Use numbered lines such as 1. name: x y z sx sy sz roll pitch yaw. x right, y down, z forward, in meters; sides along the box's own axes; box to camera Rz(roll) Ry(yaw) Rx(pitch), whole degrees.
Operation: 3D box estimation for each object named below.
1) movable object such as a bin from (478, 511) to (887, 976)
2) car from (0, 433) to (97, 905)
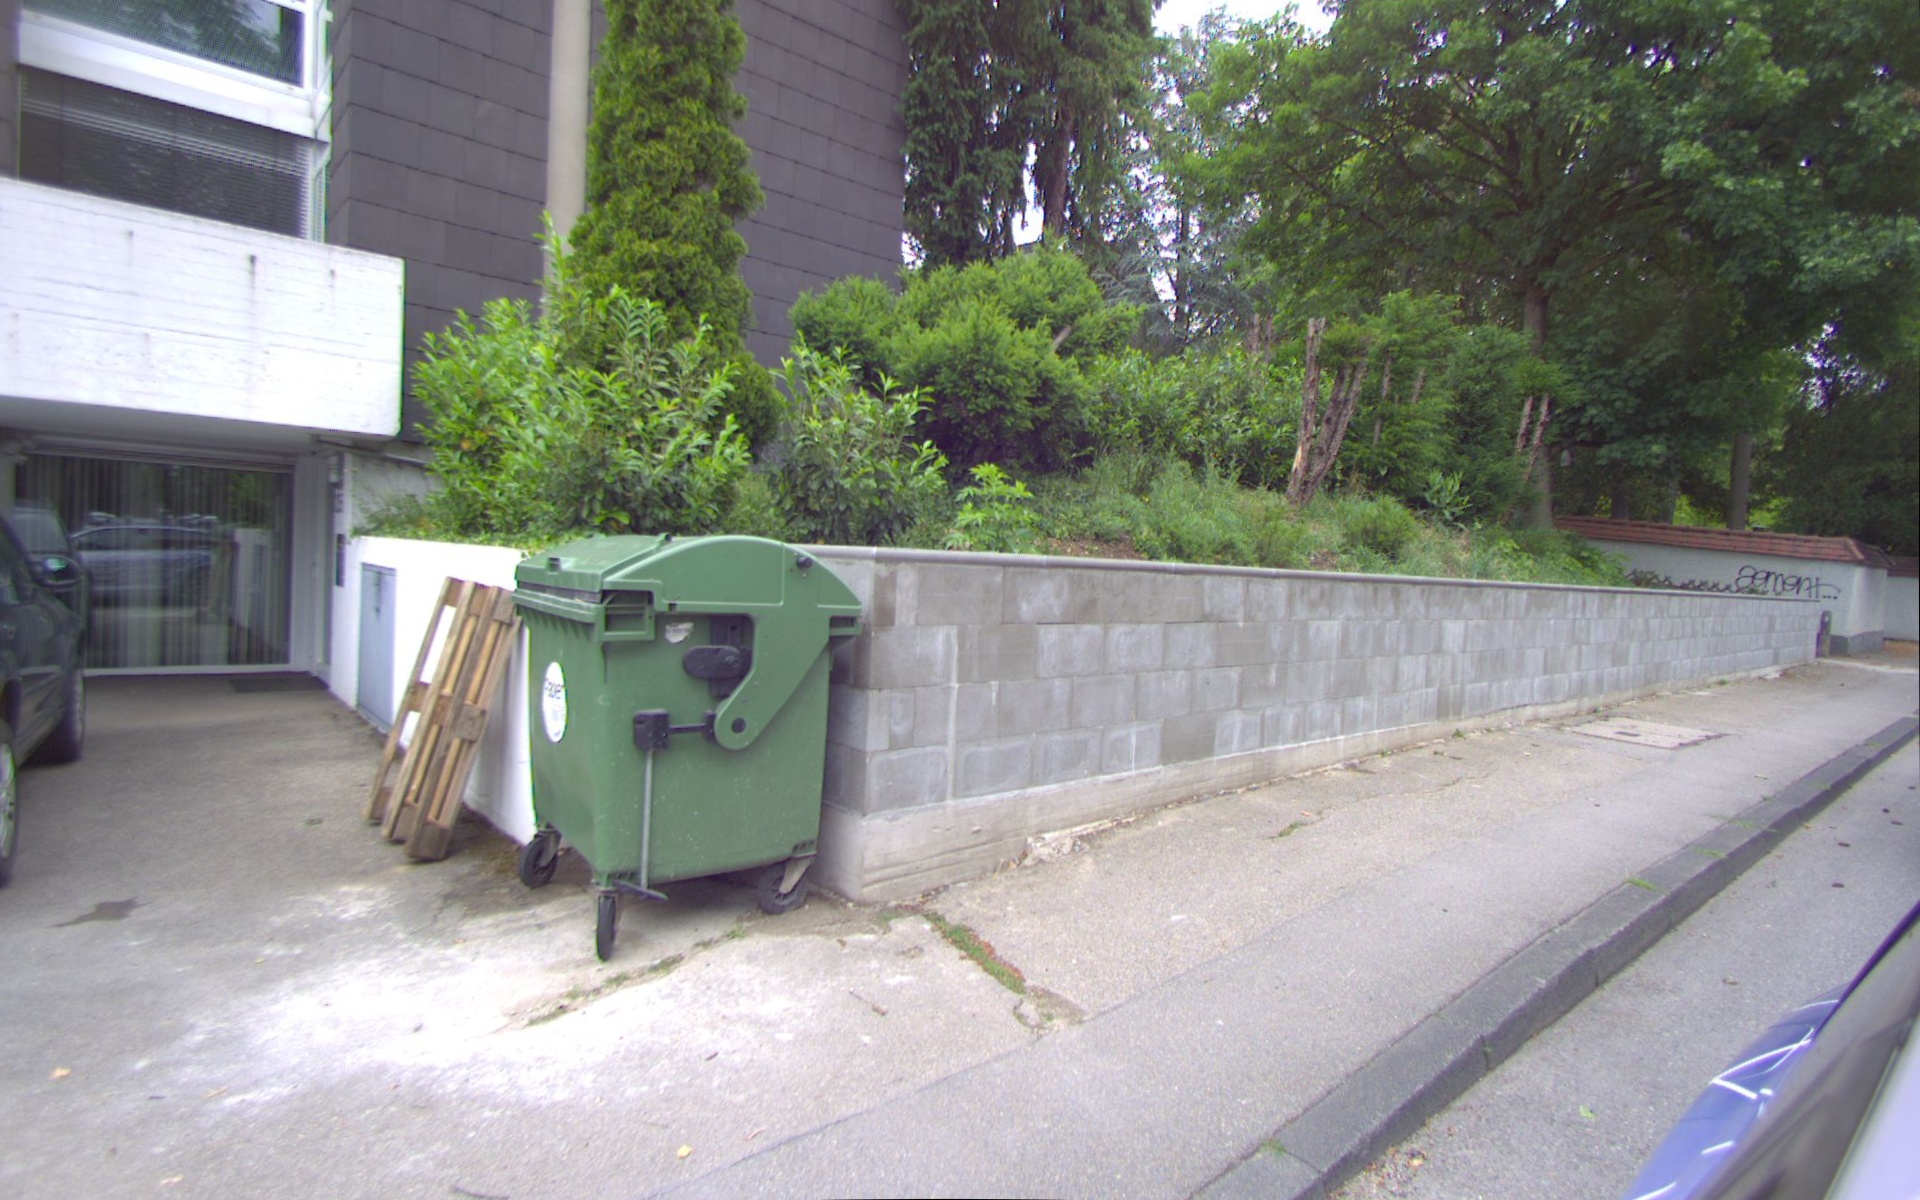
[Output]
1. movable object such as a bin: -1.161 0.415 4.076 1.096 1.469 1.407 0 3 -40
2. car: -5.026 0.147 4.351 1.712 1.671 3.914 0 4 -36
